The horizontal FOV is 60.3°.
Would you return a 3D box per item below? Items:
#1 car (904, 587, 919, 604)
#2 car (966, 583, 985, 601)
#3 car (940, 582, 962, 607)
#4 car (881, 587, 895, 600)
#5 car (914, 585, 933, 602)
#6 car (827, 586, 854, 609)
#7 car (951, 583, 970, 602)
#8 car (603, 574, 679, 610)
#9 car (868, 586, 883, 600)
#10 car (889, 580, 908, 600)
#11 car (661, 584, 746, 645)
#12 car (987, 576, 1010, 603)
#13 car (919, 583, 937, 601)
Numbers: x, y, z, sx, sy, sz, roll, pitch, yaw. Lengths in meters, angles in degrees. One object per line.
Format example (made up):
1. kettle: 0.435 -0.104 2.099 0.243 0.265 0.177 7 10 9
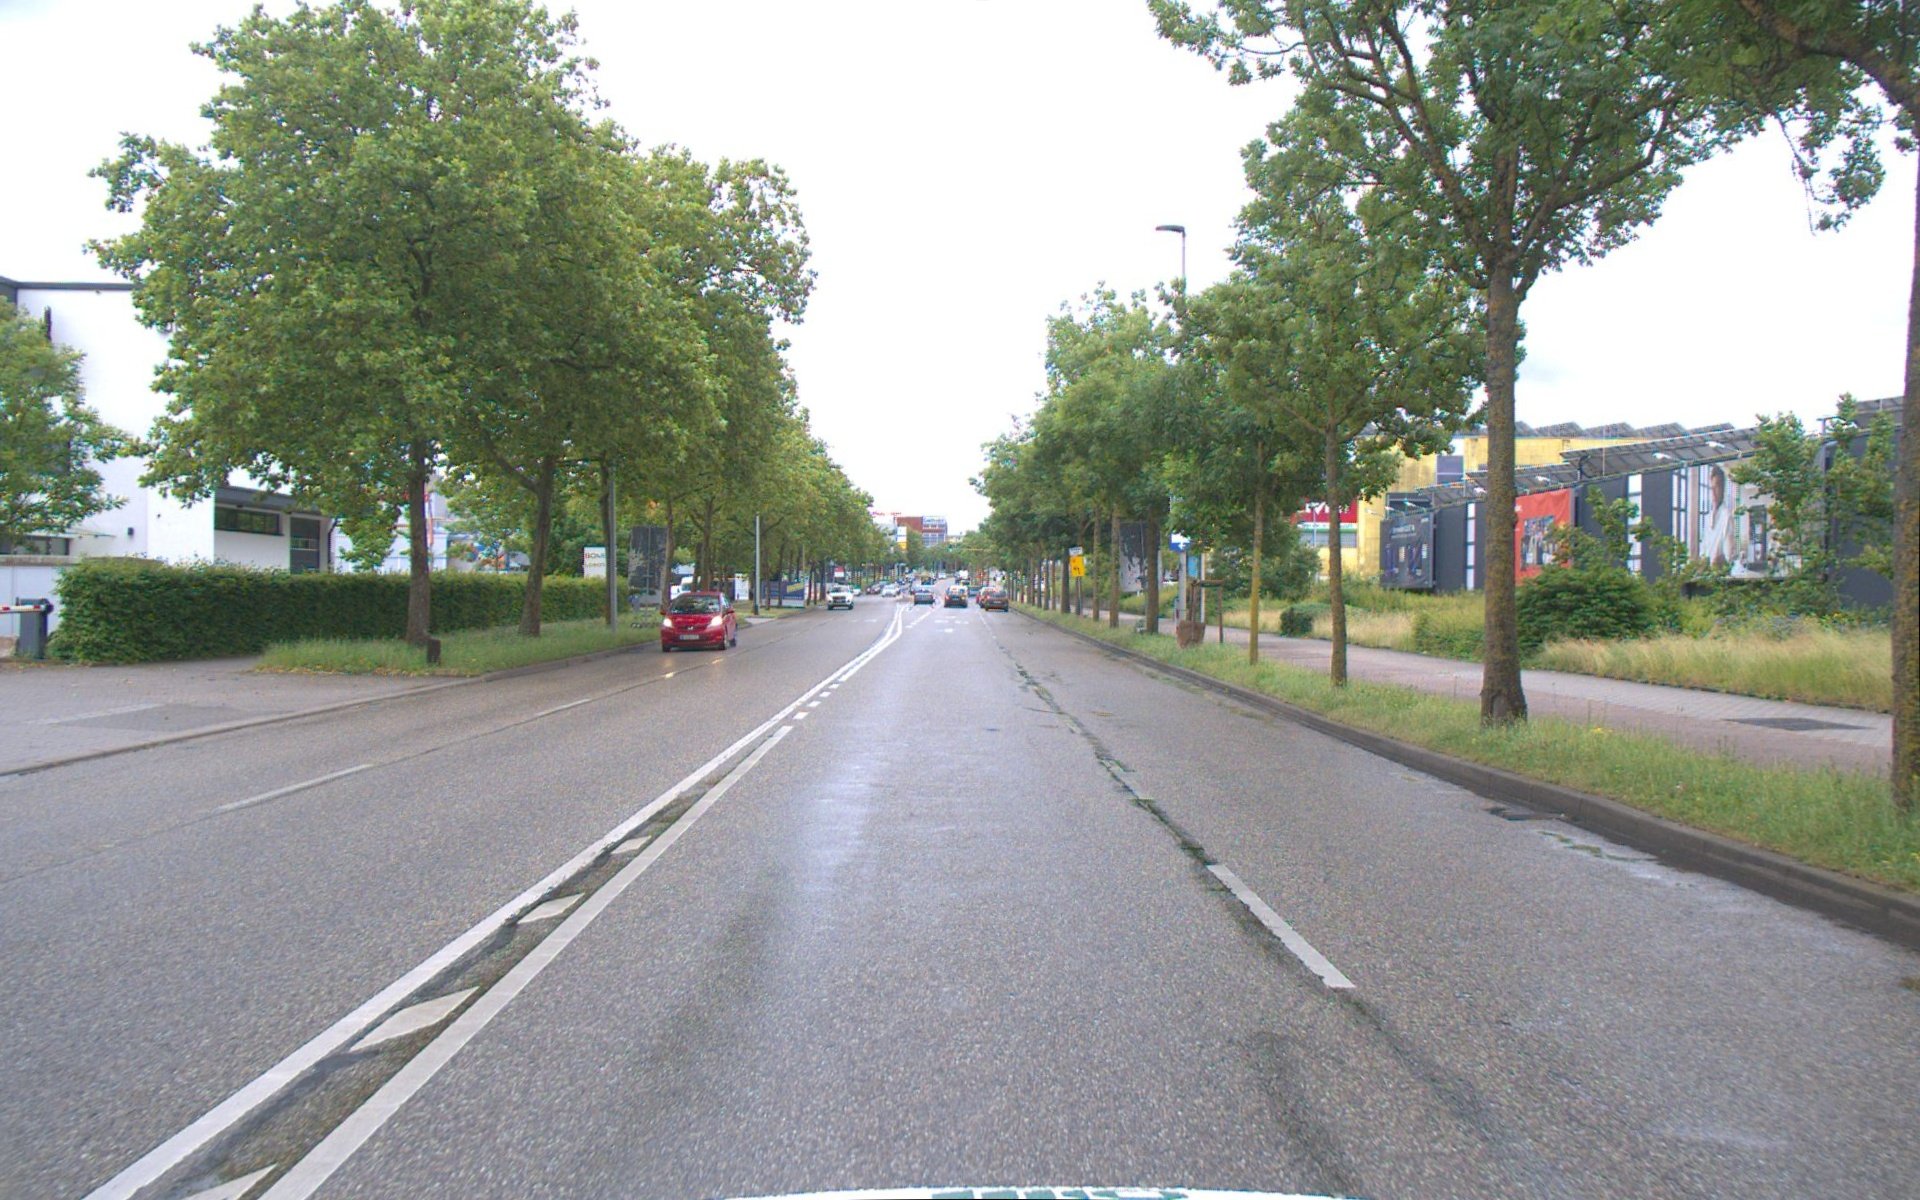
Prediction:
1. car: -6.079 -0.524 206.145 1.790 2.049 3.998 -1 0 -2
2. car: 1.627 -0.854 177.909 1.953 1.825 3.999 -1 0 -1
3. car: -0.743 -0.479 141.470 1.709 2.049 4.001 -1 0 1
4. car: -9.600 -0.845 219.875 1.790 1.758 3.998 -1 0 -2
5. car: -3.591 -0.649 164.253 1.709 1.730 4.001 -1 0 1
6. car: -9.118 -0.197 126.534 1.669 1.767 4.001 -1 0 2
7. car: 0.045 -0.717 154.980 1.709 1.767 4.001 -1 0 1
8. car: -18.082 -0.449 93.822 3.905 1.958 1.826 -1 0 0
9. car: -12.540 -1.001 244.783 2.171 2.049 3.998 -1 0 -2
10. car: -6.599 -1.048 177.261 1.953 2.049 3.999 -1 0 -1
11. car: -6.835 0.371 44.415 1.691 1.544 3.821 -1 0 0
12. car: 2.945 -0.798 127.876 1.709 2.049 4.001 -1 0 1
13. car: -3.436 -0.917 178.901 1.852 1.909 4.123 -1 0 -1
